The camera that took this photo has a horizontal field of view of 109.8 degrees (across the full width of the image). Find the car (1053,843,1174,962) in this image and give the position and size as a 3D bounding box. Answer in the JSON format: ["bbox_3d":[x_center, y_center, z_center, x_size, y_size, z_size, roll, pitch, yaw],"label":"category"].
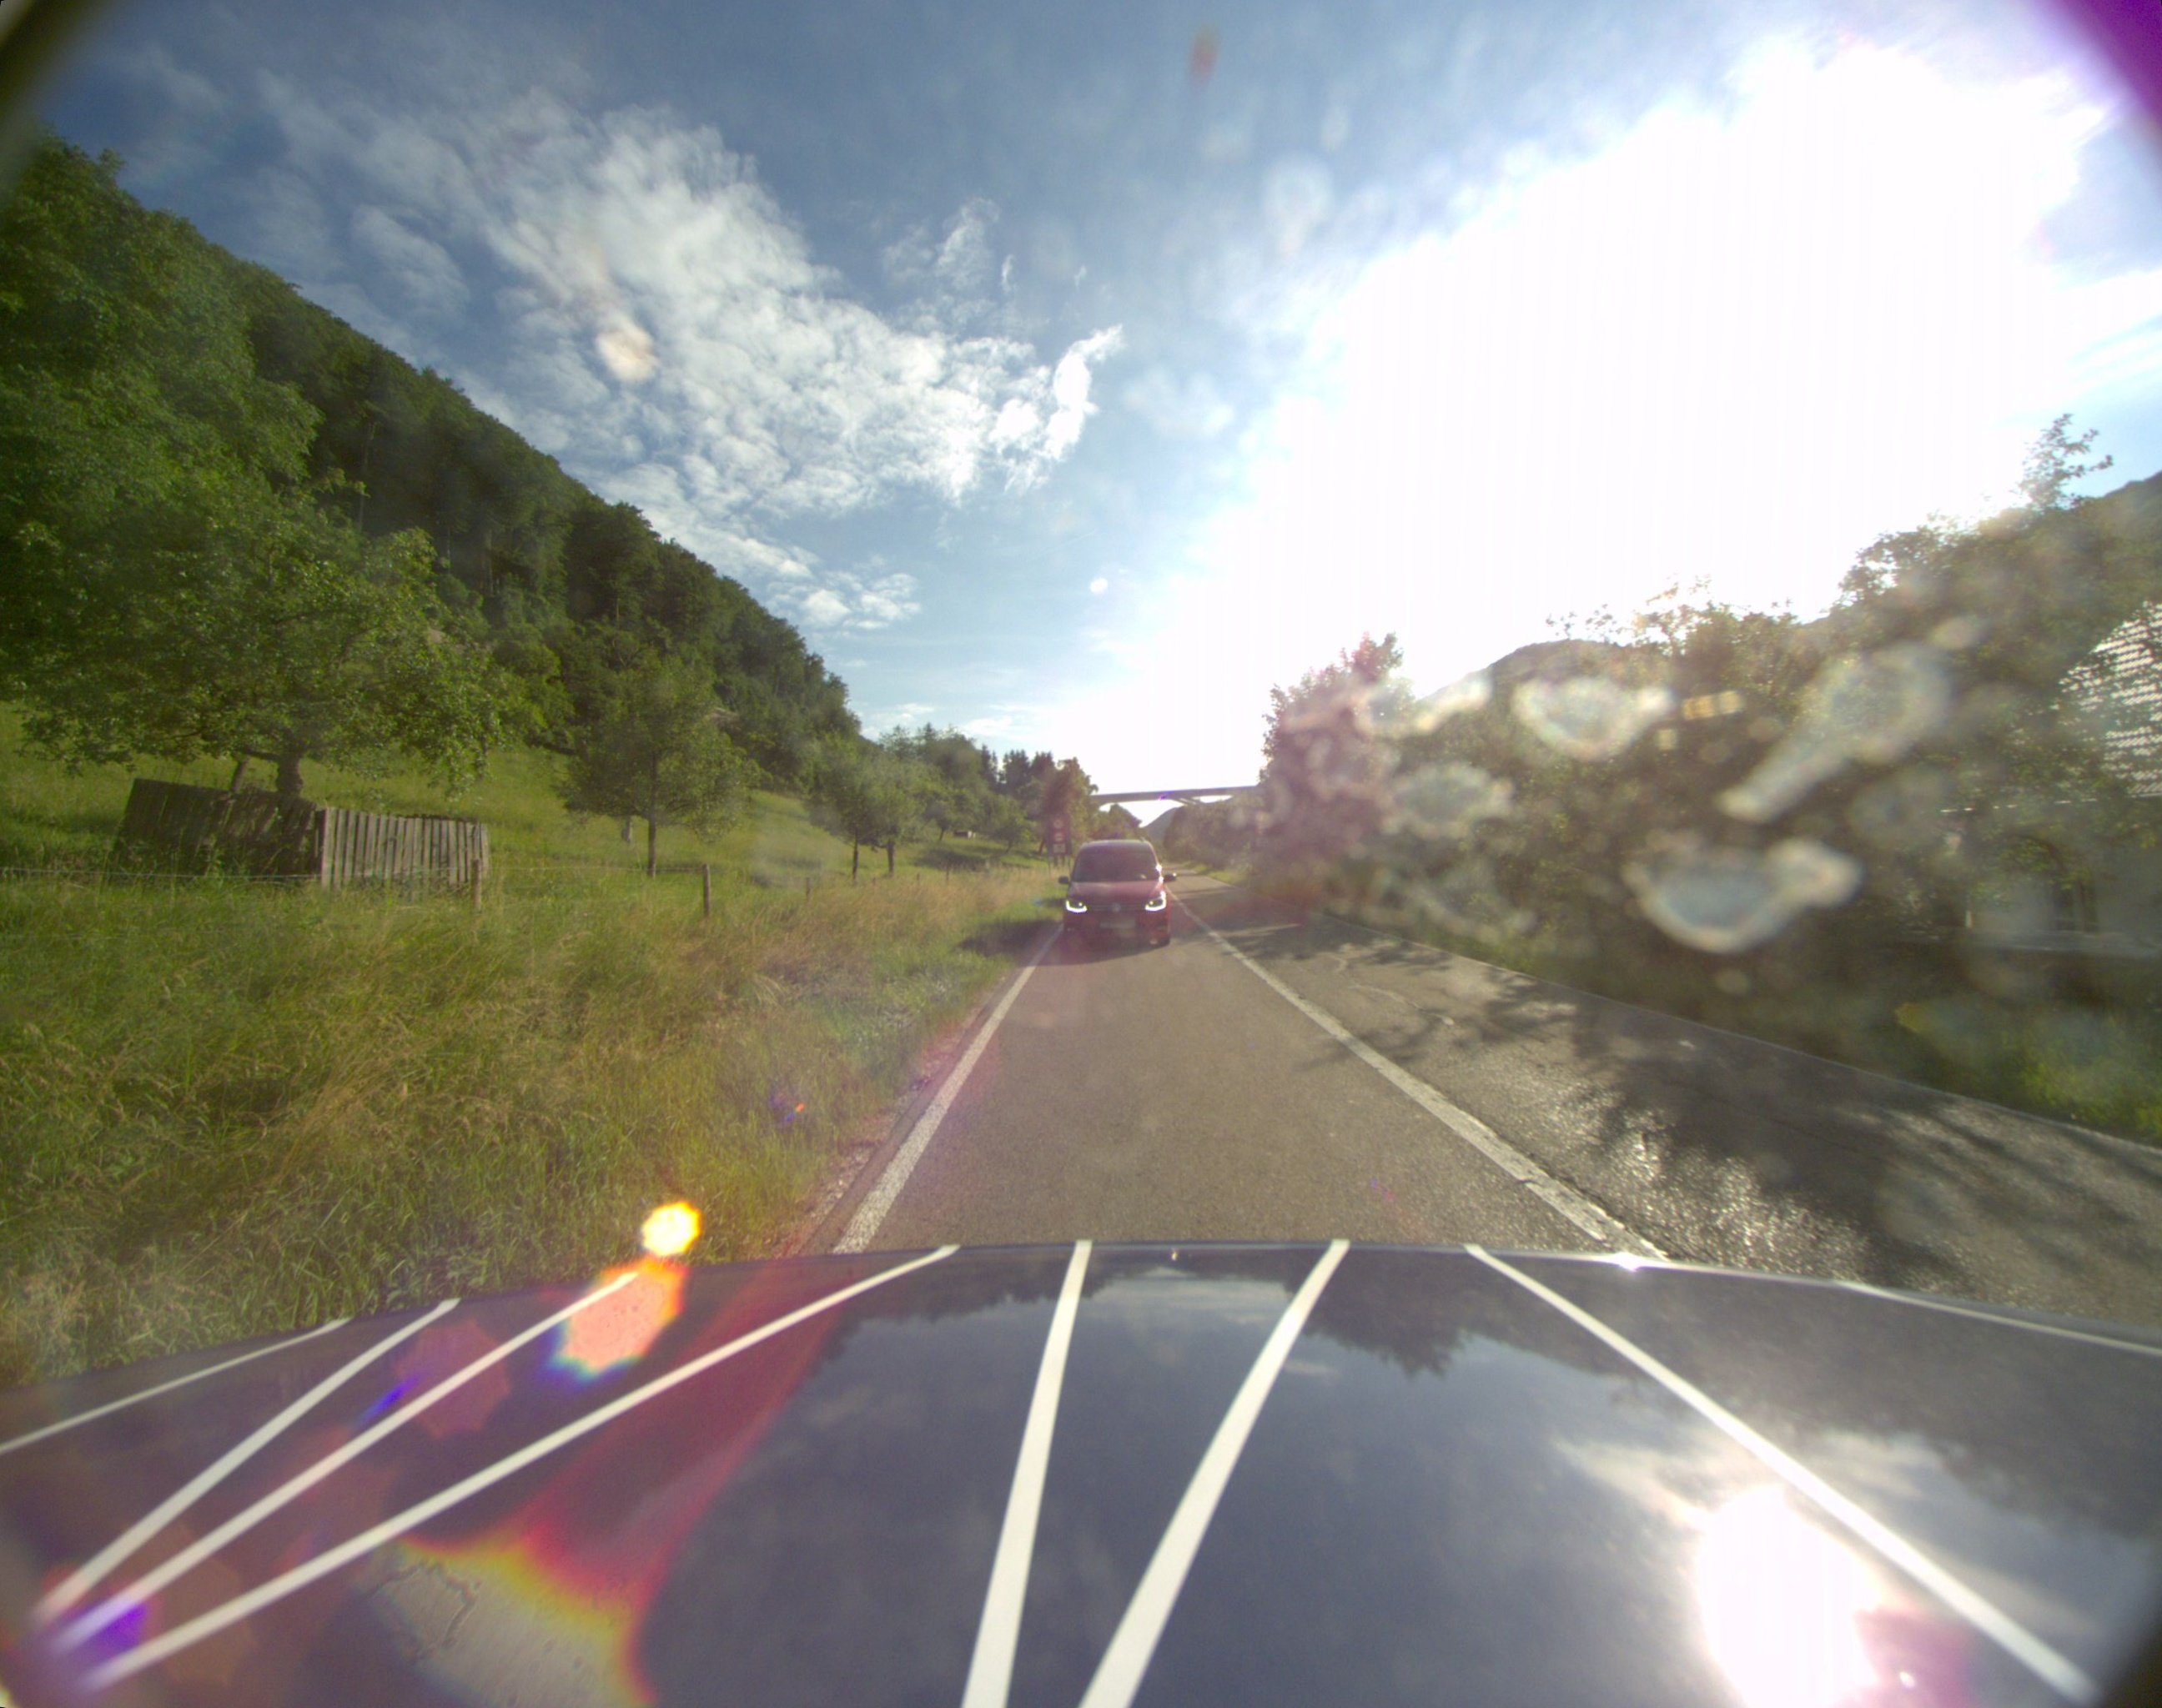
[{"bbox_3d":[0.671,0.709,13.651,1.758,1.745,4.430,-2,1,5],"label":"car"}]

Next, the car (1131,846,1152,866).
[{"bbox_3d":[6.377,0.205,80.747,1.998,2.002,4.000,-2,1,2],"label":"car"}]

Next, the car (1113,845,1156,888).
[{"bbox_3d":[2.361,0.501,34.024,1.759,1.745,4.000,-2,1,3],"label":"car"}]
